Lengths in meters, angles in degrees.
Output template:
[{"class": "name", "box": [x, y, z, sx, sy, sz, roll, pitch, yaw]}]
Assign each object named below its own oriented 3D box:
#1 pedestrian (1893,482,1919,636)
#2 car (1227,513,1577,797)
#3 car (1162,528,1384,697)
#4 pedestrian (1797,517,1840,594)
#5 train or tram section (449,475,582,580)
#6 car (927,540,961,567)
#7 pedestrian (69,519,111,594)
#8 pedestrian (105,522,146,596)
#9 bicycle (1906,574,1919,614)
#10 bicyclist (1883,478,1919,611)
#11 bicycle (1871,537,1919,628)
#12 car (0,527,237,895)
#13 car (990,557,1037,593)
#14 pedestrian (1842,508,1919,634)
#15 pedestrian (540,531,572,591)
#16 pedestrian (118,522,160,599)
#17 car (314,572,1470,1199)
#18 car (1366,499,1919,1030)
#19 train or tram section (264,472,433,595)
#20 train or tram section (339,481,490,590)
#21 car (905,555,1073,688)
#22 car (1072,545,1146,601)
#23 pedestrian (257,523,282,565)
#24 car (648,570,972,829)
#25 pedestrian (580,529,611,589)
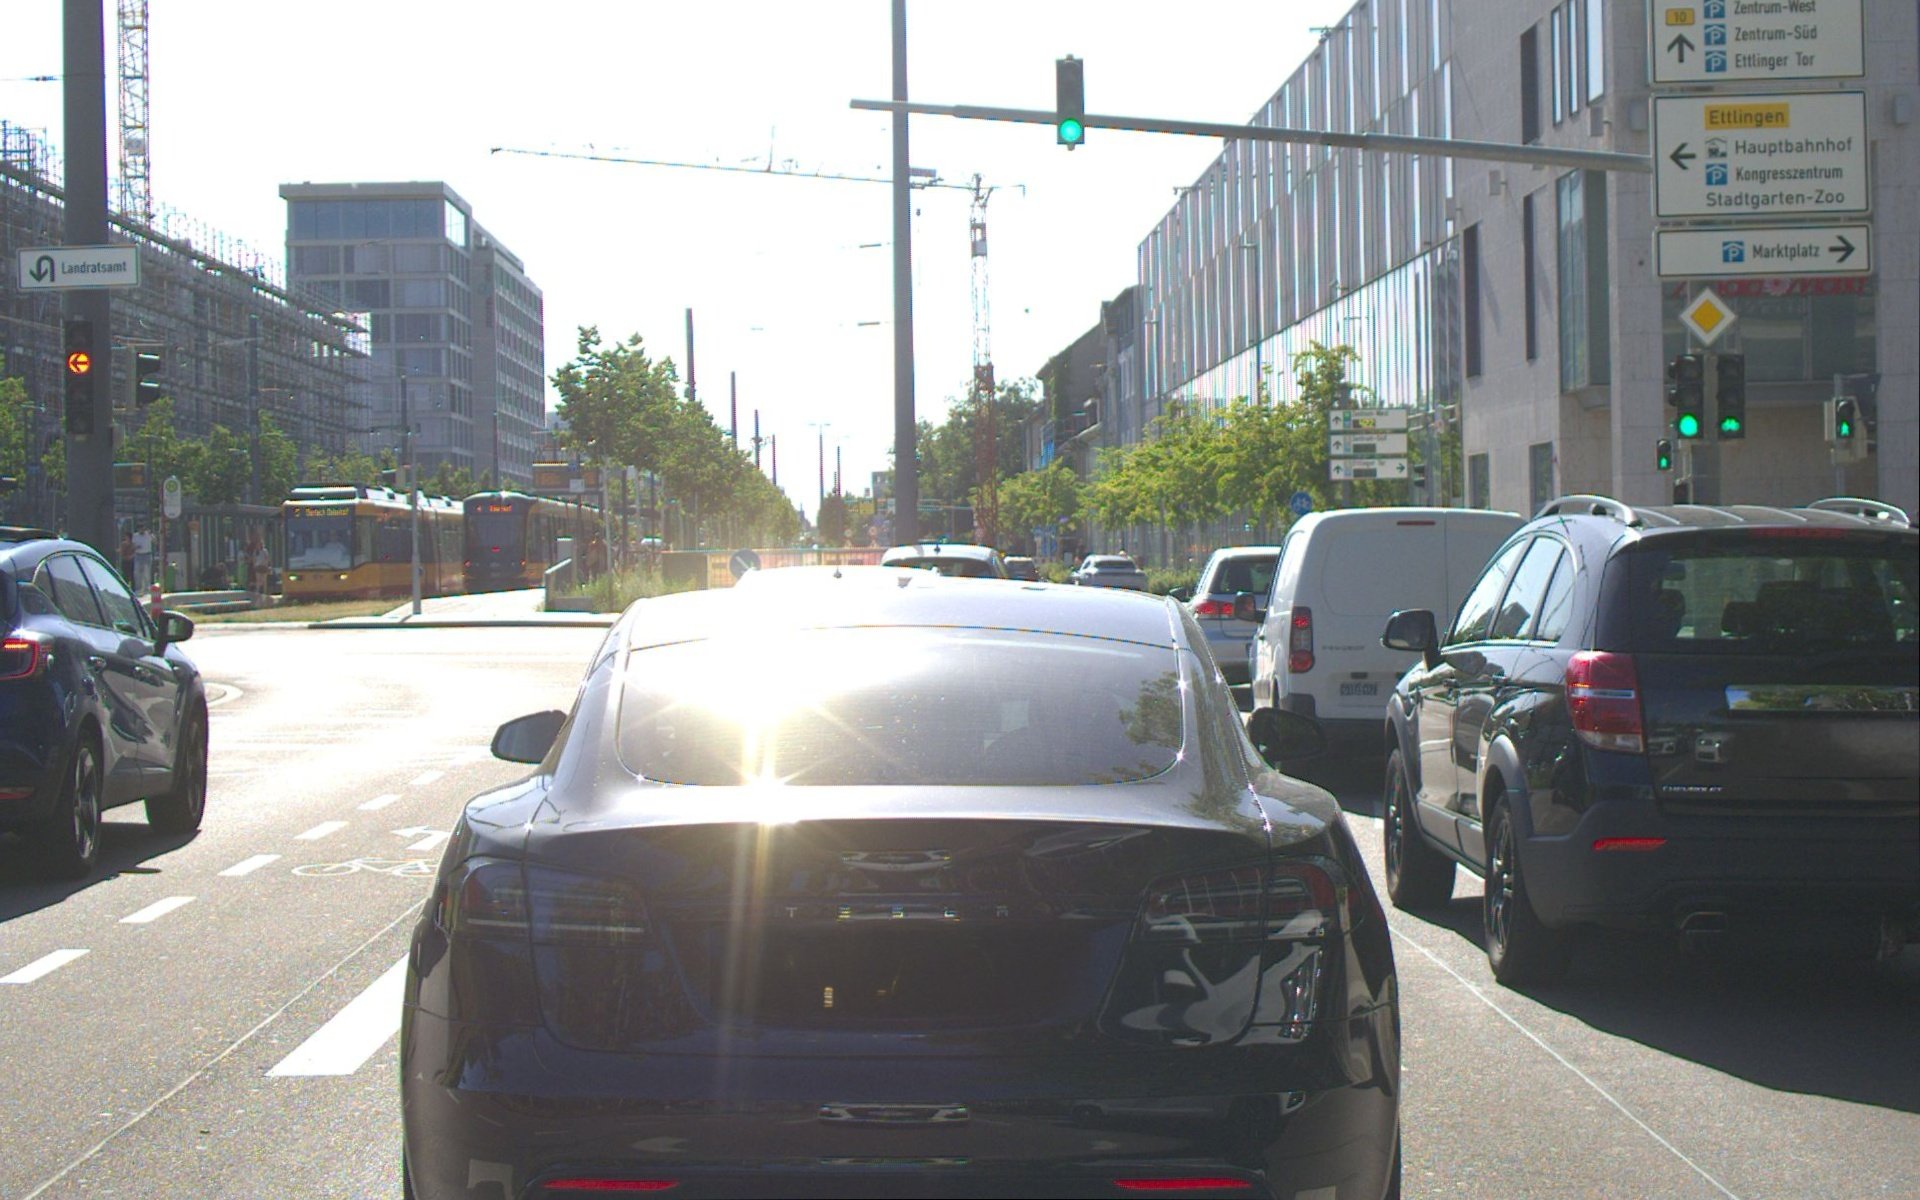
[{"class": "pedestrian", "box": [12.994, -0.547, 45.333, 0.946, 2.007, 1.080, -1, 1, -12]}, {"class": "car", "box": [2.869, 0.294, 23.127, 1.784, 1.728, 4.163, 0, 1, 0]}, {"class": "car", "box": [2.998, 0.077, 33.650, 1.784, 1.540, 4.039, 0, 1, 0]}, {"class": "pedestrian", "box": [18.156, -0.951, 72.707, 0.747, 1.602, 0.557, -1, 2, -2]}, {"class": "train or tram section", "box": [-14.922, -2.415, 116.547, 2.870, 3.268, 15.186, 1, 1, -2]}, {"class": "car", "box": [-0.927, -2.656, 196.186, 1.934, 1.536, 4.000, 0, 1, -1]}, {"class": "pedestrian", "box": [-21.197, -1.063, 83.749, 0.800, 1.817, 0.976, -1, 1, -4]}, {"class": "pedestrian", "box": [-20.850, -1.031, 85.922, 0.800, 1.817, 0.976, -1, 1, -4]}, {"class": "bicycle", "box": [17.677, -0.123, 59.730, 2.193, 0.669, 1.072, -1, 1, 3]}, {"class": "bicyclist", "box": [10.887, -0.628, 38.419, 0.881, 1.472, 0.883, -1, 1, -1]}, {"class": "bicycle", "box": [10.894, -0.205, 38.341, 0.881, 0.981, 2.051, -1, 1, -1]}, {"class": "car", "box": [-4.817, 0.434, 16.813, 1.770, 1.583, 4.089, 1, 1, -1]}, {"class": "car", "box": [2.339, -1.111, 151.059, 1.934, 1.536, 4.000, 0, 1, -1]}, {"class": "pedestrian", "box": [13.716, -0.437, 50.620, 0.967, 1.795, 1.523, -3, 1, -1]}, {"class": "pedestrian", "box": [-12.173, -1.186, 103.576, 0.874, 1.769, 1.189, 1, 1, -4]}, {"class": "pedestrian", "box": [-19.801, -0.955, 82.948, 0.800, 1.817, 0.976, -1, 1, -4]}, {"class": "car", "box": [-0.126, 0.667, 8.163, 1.999, 1.429, 4.413, 0, 1, 0]}, {"class": "car", "box": [2.725, 0.480, 13.217, 1.784, 1.693, 4.413, 0, 1, 0]}, {"class": "train or tram section", "box": [-17.542, -1.900, 99.504, 2.870, 3.298, 13.074, 1, 1, -2]}, {"class": "train or tram section", "box": [-17.903, -2.046, 114.007, 2.847, 3.310, 15.967, 1, 0, -2]}, {"class": "car", "box": [0.273, 0.193, 37.238, 1.716, 1.315, 4.000, 0, 1, -1]}, {"class": "car", "box": [4.293, -0.792, 99.466, 1.934, 1.536, 4.000, 0, 1, -1]}, {"class": "pedestrian", "box": [-20.508, -1.670, 102.140, 0.671, 1.222, 0.506, 1, 0, -4]}, {"class": "car", "box": [-0.822, 0.514, 20.318, 1.716, 1.315, 4.000, 0, 1, -1]}, {"class": "pedestrian", "box": [-9.922, -1.107, 93.547, 0.741, 1.623, 0.861, -1, 1, 0]}]
